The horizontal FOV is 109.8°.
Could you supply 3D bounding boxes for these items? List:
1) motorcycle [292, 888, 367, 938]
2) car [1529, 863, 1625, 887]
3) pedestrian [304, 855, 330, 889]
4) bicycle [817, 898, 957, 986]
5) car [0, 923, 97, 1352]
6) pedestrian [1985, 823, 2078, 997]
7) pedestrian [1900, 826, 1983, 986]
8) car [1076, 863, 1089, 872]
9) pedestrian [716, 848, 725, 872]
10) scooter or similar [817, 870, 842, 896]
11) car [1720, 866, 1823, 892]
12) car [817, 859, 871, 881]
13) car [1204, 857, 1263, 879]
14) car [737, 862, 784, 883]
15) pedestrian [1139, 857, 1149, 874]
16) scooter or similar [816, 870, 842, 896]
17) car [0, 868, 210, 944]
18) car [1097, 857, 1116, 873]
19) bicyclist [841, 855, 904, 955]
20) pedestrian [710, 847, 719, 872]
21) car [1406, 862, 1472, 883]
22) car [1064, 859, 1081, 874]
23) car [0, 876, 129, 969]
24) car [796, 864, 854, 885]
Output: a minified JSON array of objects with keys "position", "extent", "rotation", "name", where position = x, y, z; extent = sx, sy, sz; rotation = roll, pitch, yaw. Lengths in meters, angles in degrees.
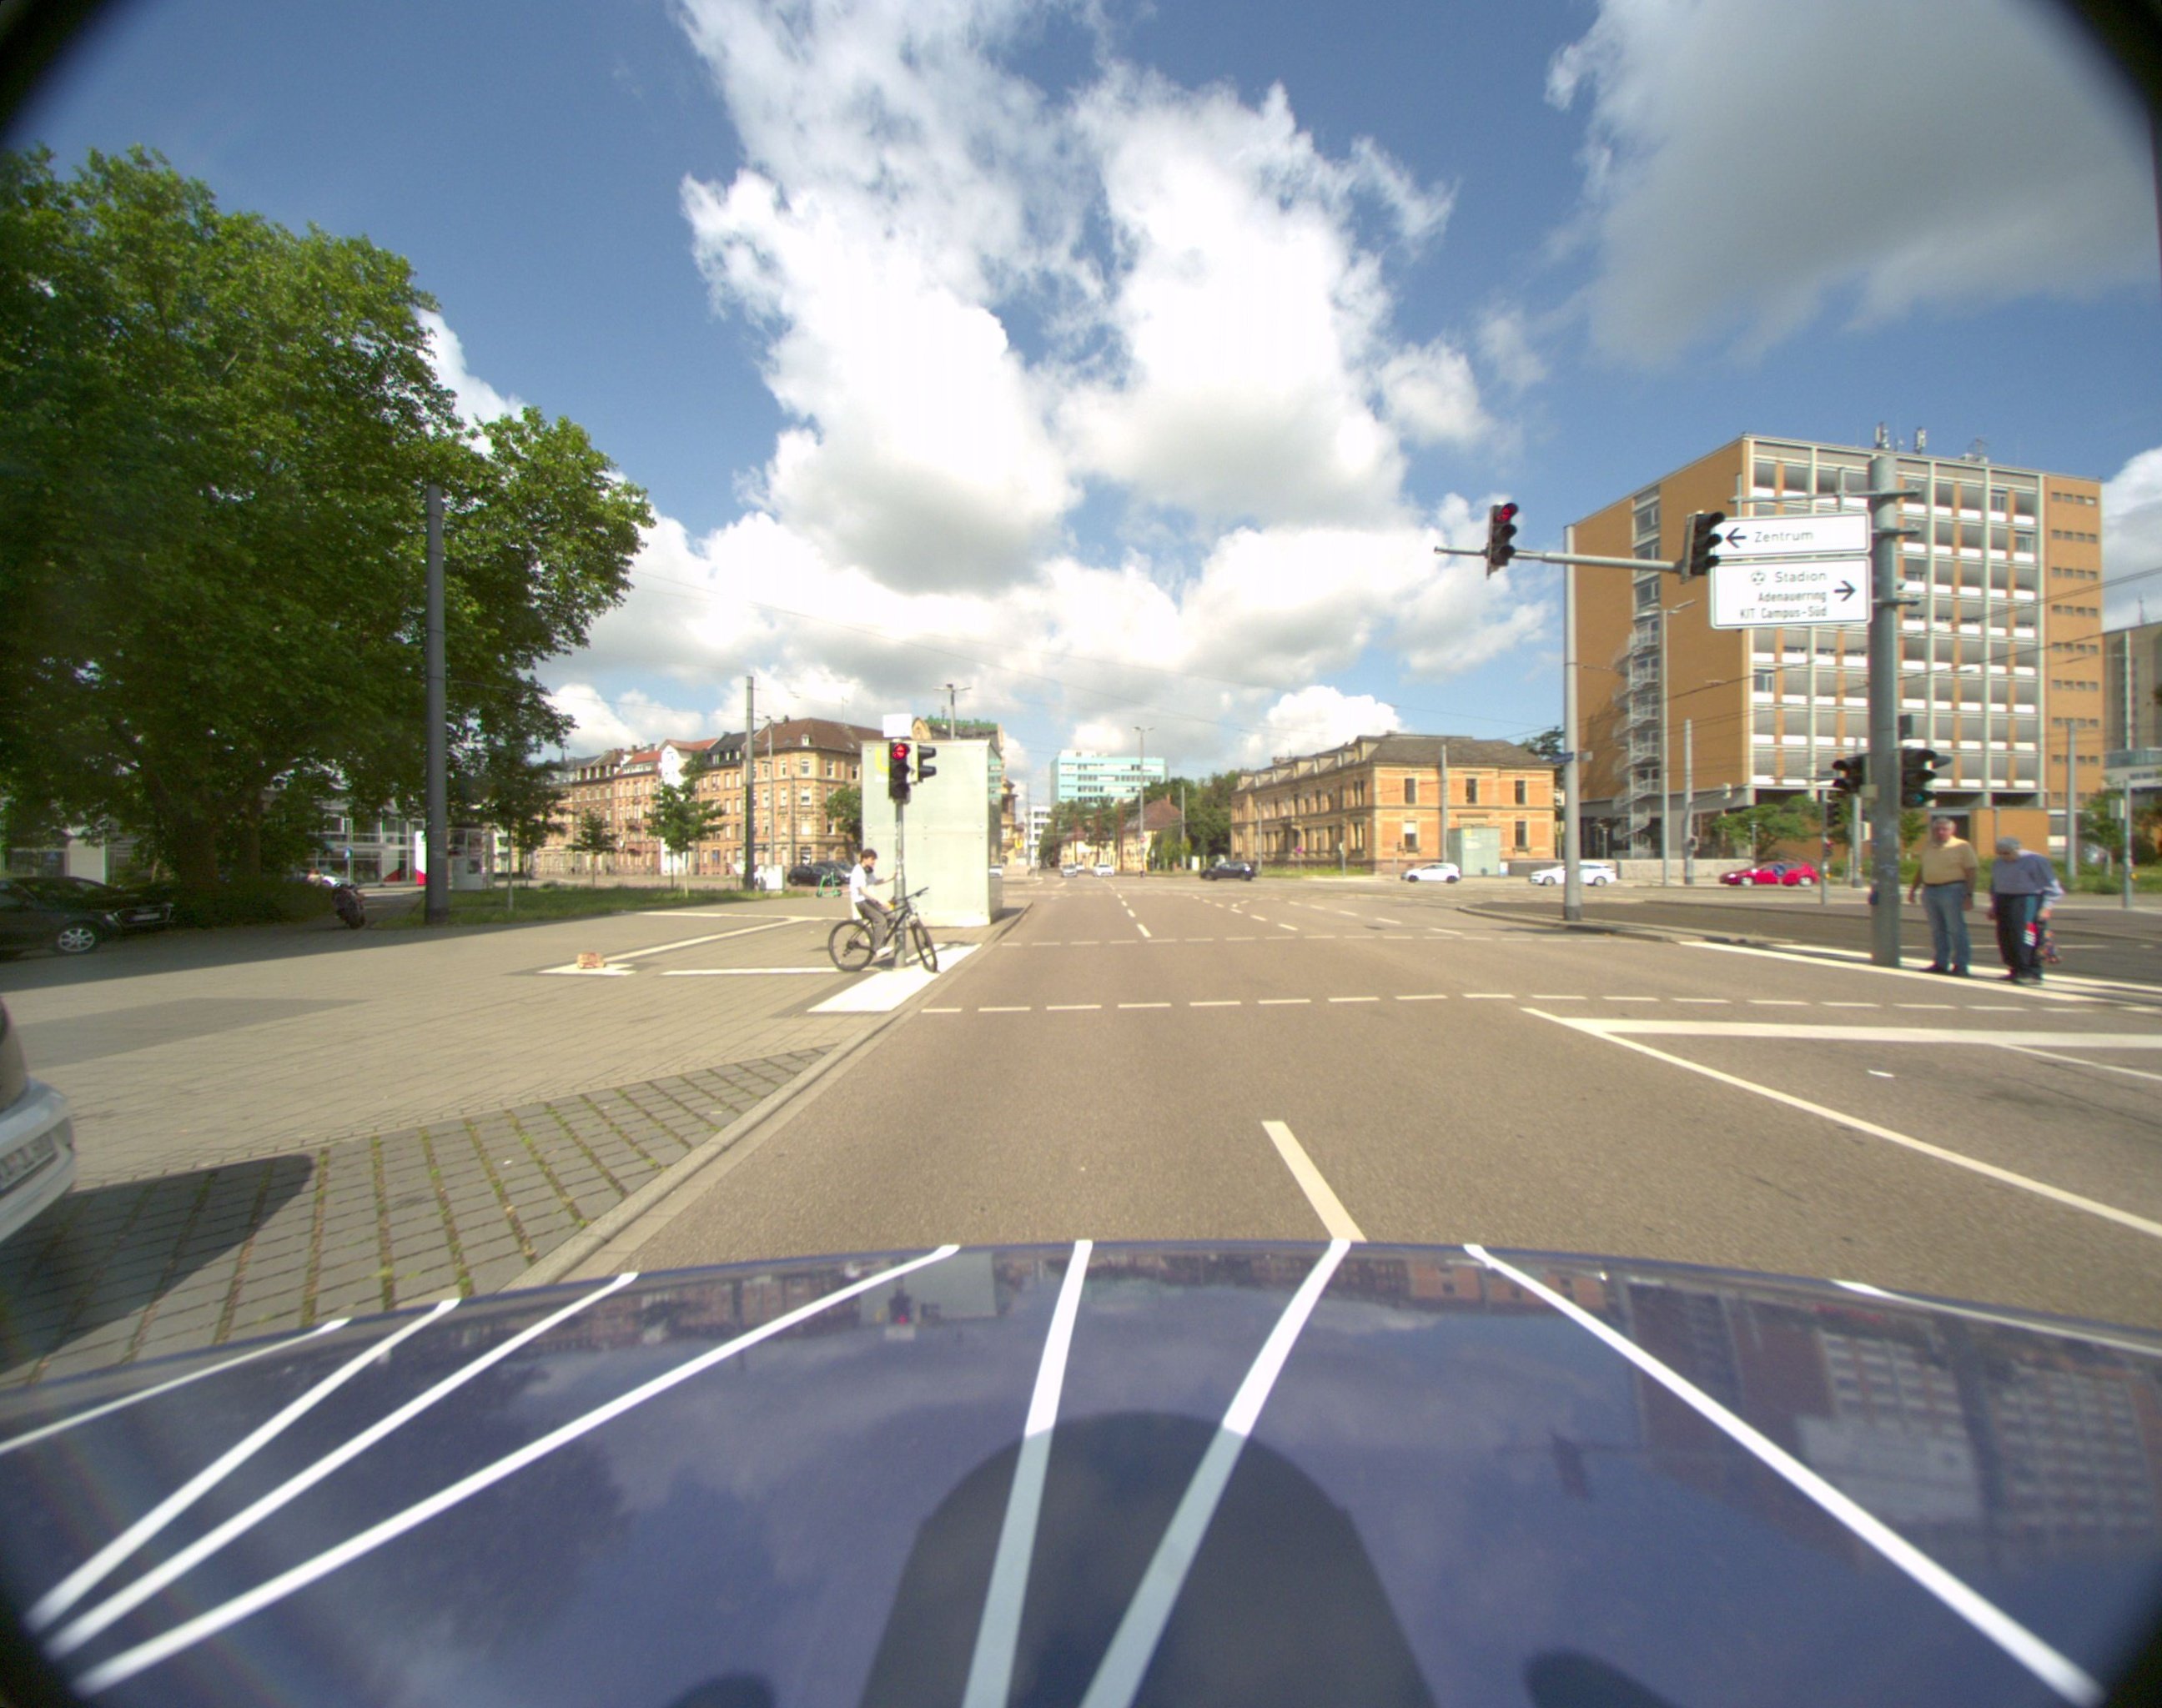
[{"position":[-18.035,1.373,18.301],"extent":[0.976,1.024,2.288],"rotation":[-2,1,-38],"name":"motorcycle"},{"position":[30.706,1.318,47.156],"extent":[4.664,1.420,1.766],"rotation":[-1,-2,18],"name":"car"},{"position":[-46.276,1.085,46.040],"extent":[0.806,2.002,0.811],"rotation":[0,0,18],"name":"pedestrian"},{"position":[-2.695,1.169,10.446],"extent":[2.095,1.099,0.545],"rotation":[-2,-2,30],"name":"bicycle"},{"position":[-5.158,1.059,1.543],"extent":[3.503,1.445,1.774],"rotation":[-2,1,-39],"name":"car"},{"position":[11.249,0.642,9.001],"extent":[0.503,2.002,0.515],"rotation":[0,0,-10],"name":"pedestrian"},{"position":[11.115,0.648,9.829],"extent":[0.427,2.002,0.578],"rotation":[0,0,-10],"name":"pedestrian"},{"position":[0.278,2.942,167.108],"extent":[2.001,2.001,3.996],"rotation":[0,-2,-14],"name":"car"},{"position":[-45.769,0.748,96.541],"extent":[0.885,3.057,0.729],"rotation":[-2,-2,42],"name":"pedestrian"},{"position":[-11.669,1.339,35.231],"extent":[0.380,1.189,1.067],"rotation":[-2,-2,45],"name":"scooter or similar"},{"position":[39.894,1.458,43.992],"extent":[4.057,1.458,1.649],"rotation":[-1,-2,16],"name":"car"},{"position":[-17.525,1.204,56.119],"extent":[3.726,1.564,2.005],"rotation":[-2,-2,39],"name":"car"},{"position":[11.739,1.110,58.560],"extent":[4.202,1.566,1.650],"rotation":[-2,-2,24],"name":"car"},{"position":[-23.929,1.401,56.767],"extent":[3.646,1.460,1.695],"rotation":[-2,-3,39],"name":"car"},{"position":[5.850,1.062,70.706],"extent":[0.543,1.507,0.744],"rotation":[0,0,41],"name":"pedestrian"},{"position":[-11.497,1.315,34.690],"extent":[1.067,1.189,0.381],"rotation":[1,-2,-35],"name":"scooter or similar"},{"position":[-24.433,1.216,18.457],"extent":[3.999,1.696,1.999],"rotation":[0,0,-6],"name":"car"},{"position":[2.758,1.258,82.568],"extent":[1.955,1.586,4.508],"rotation":[-1,-2,0],"name":"car"},{"position":[-2.879,0.697,10.477],"extent":[0.782,1.327,0.396],"rotation":[-2,-2,31],"name":"bicyclist"},{"position":[-46.303,0.753,96.000],"extent":[0.885,3.101,0.669],"rotation":[-2,-2,42],"name":"pedestrian"},{"position":[24.980,1.294,53.192],"extent":[4.069,1.376,1.591],"rotation":[-1,-2,23],"name":"car"},{"position":[-0.901,1.404,85.450],"extent":[1.837,1.586,4.001],"rotation":[-1,-2,0],"name":"car"},{"position":[-19.025,1.174,12.395],"extent":[1.807,1.505,4.096],"rotation":[0,0,1],"name":"car"},{"position":[-17.600,1.402,52.262],"extent":[3.929,1.368,1.875],"rotation":[-1,0,37],"name":"car"}]
